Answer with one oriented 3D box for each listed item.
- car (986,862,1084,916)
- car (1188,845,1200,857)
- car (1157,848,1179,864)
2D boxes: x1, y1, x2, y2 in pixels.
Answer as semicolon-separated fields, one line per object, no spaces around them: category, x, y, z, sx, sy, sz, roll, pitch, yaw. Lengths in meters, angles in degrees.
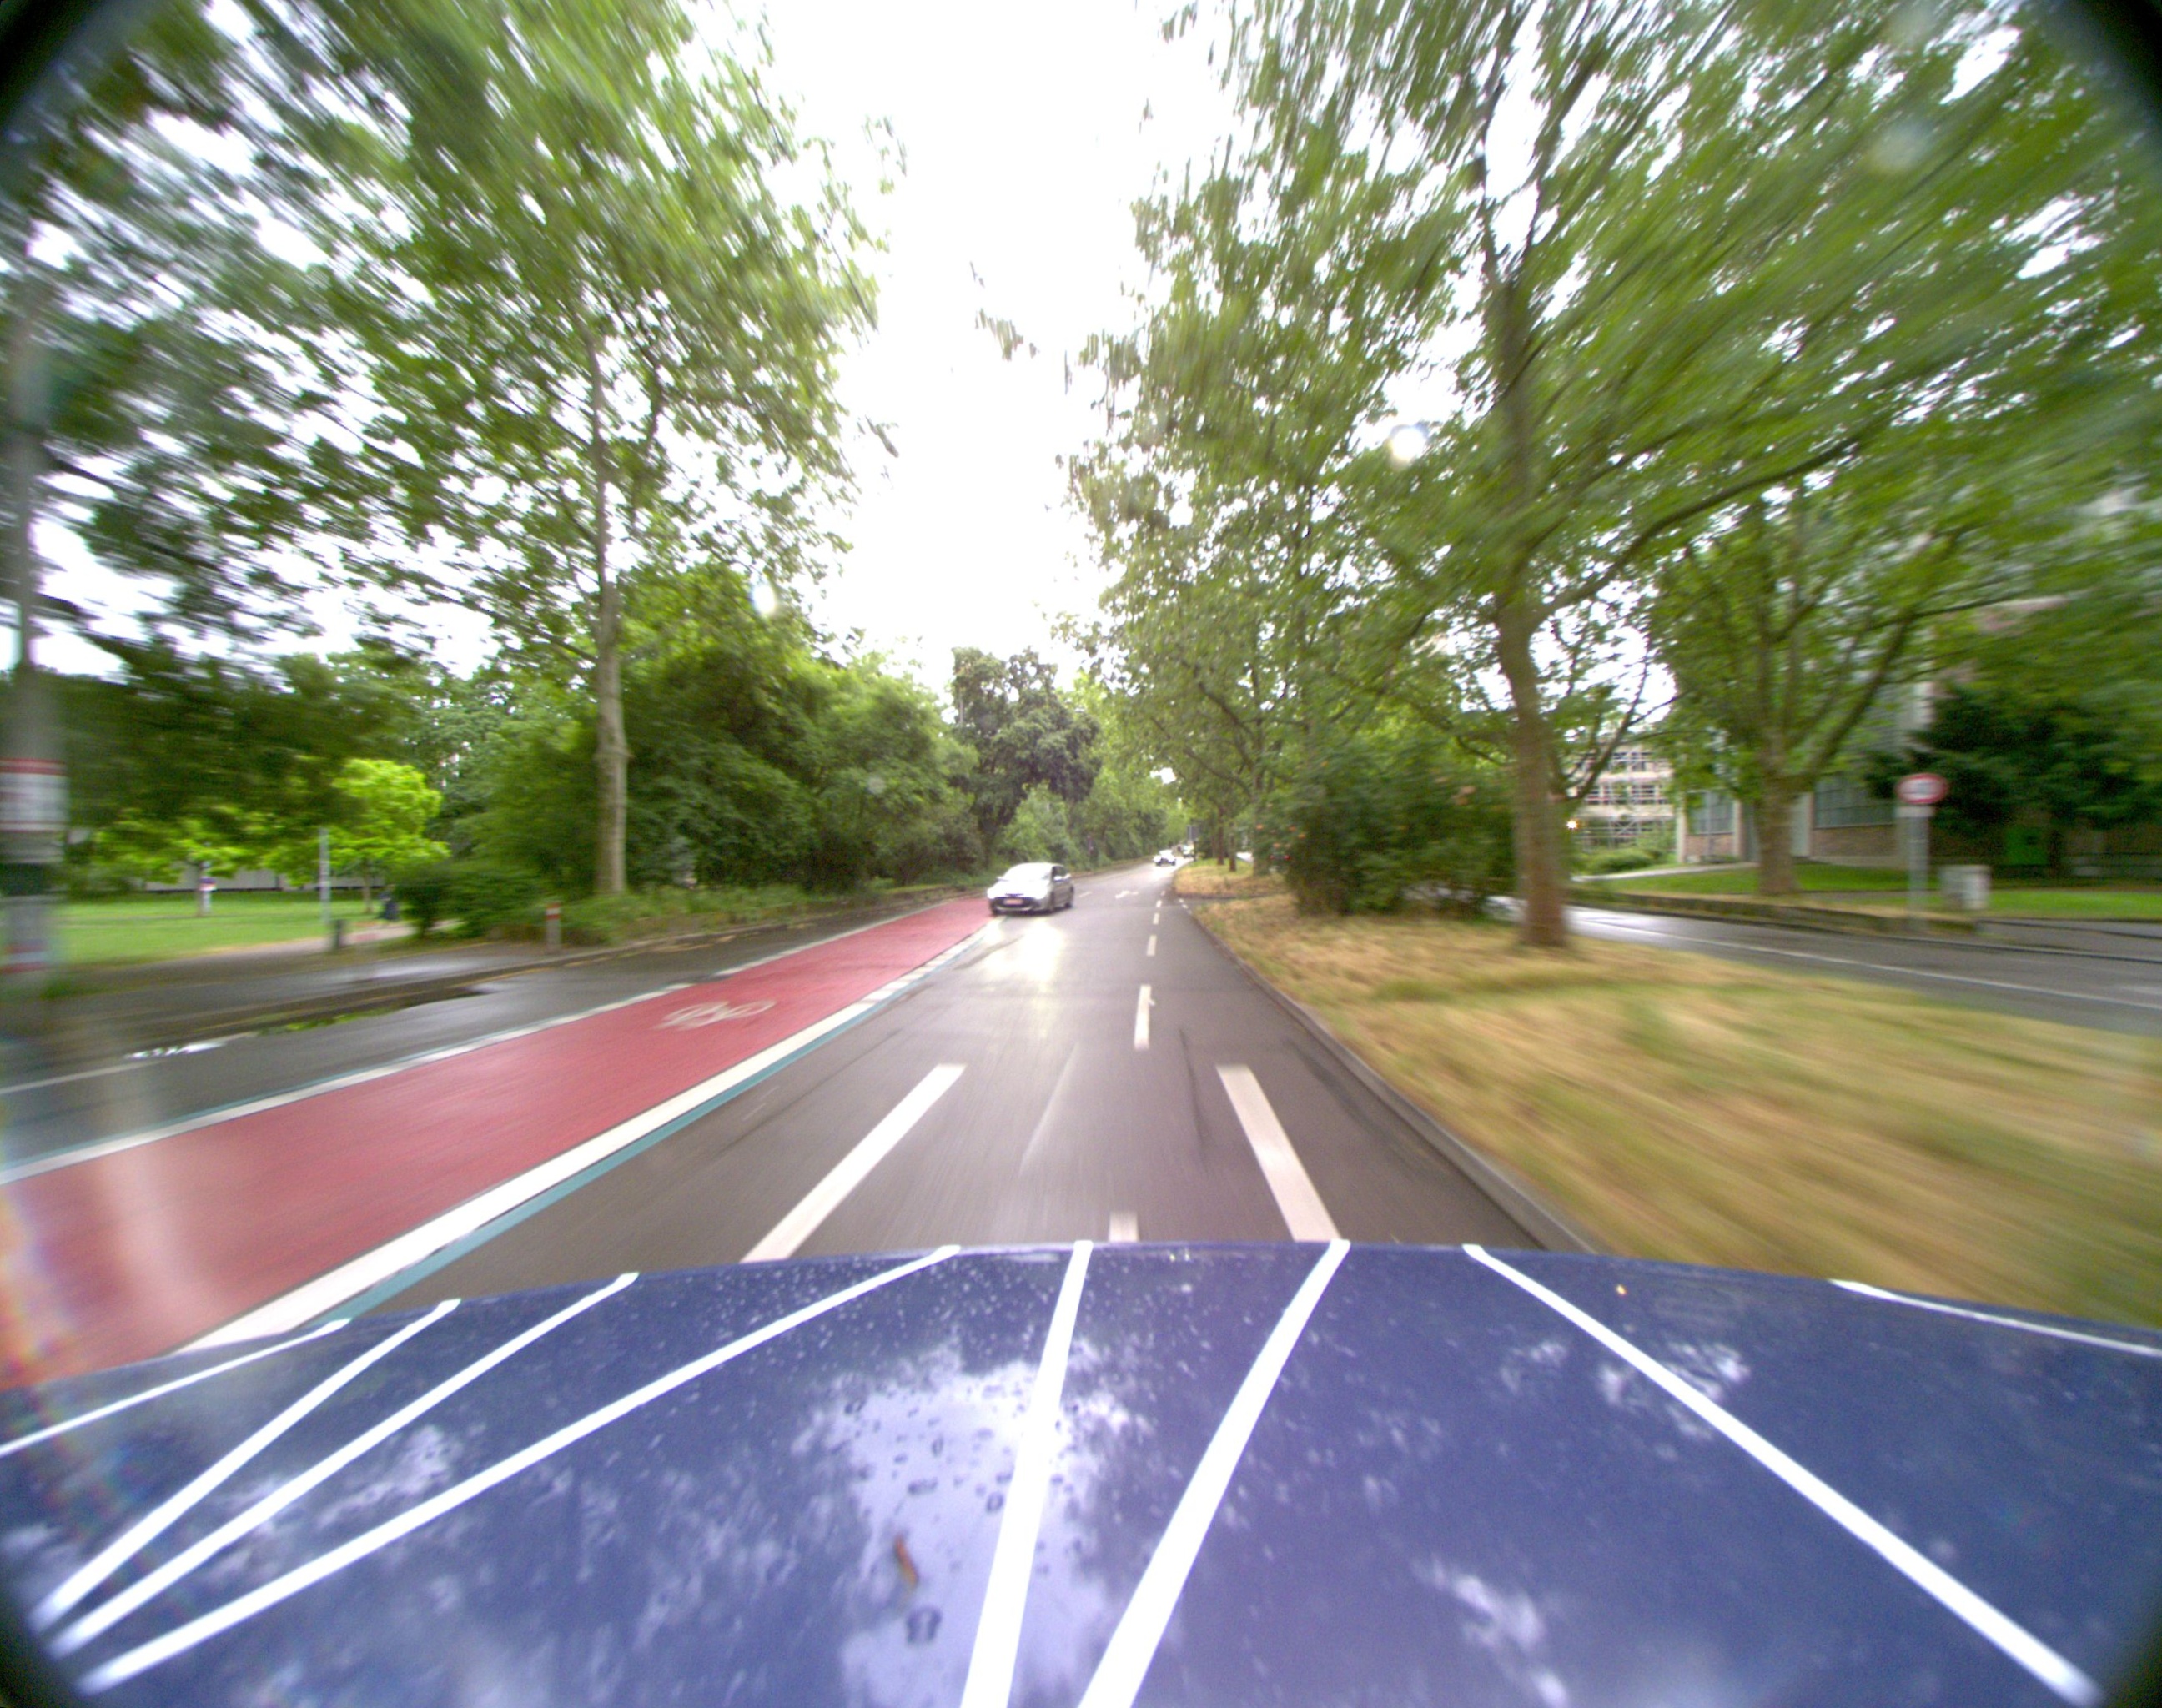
car;-1.277;1.003;23.087;1.865;1.441;4.408;-2;-1;11
car;19.157;-0.441;129.115;1.883;1.865;4.745;-3;-1;9
car;9.346;0.211;81.336;1.832;1.599;4.580;-2;1;12
